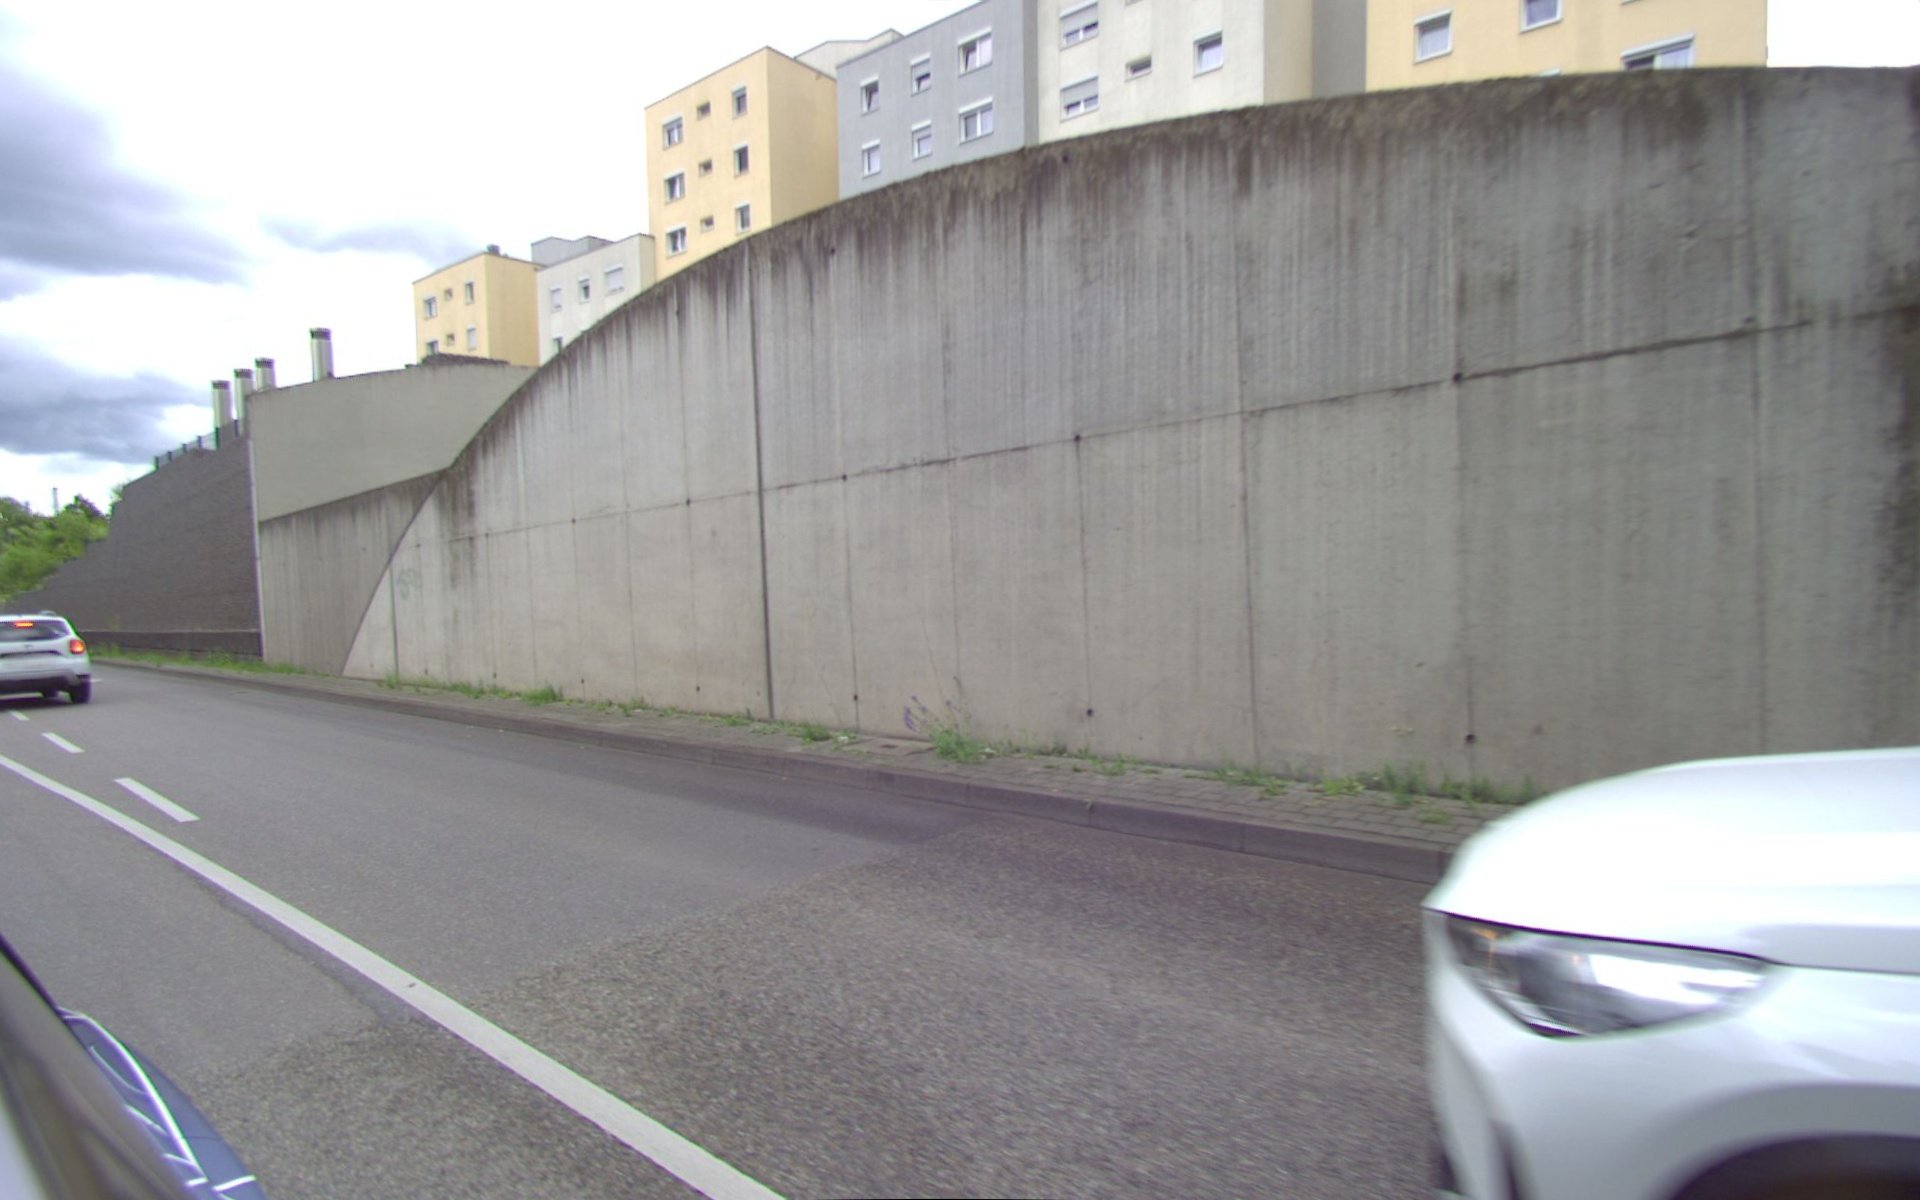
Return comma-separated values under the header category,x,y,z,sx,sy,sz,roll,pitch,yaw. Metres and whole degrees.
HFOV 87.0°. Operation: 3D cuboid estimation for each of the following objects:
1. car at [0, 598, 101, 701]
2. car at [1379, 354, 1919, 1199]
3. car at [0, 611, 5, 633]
category,x,y,z,sx,sy,sz,roll,pitch,yaw
car,-17.149,0.869,18.224,4.205,1.644,1.843,-2,1,40
car,2.940,0.468,0.804,4.424,1.644,1.870,-2,1,42
car,-75.544,1.899,76.645,1.808,1.650,4.508,-3,4,4
